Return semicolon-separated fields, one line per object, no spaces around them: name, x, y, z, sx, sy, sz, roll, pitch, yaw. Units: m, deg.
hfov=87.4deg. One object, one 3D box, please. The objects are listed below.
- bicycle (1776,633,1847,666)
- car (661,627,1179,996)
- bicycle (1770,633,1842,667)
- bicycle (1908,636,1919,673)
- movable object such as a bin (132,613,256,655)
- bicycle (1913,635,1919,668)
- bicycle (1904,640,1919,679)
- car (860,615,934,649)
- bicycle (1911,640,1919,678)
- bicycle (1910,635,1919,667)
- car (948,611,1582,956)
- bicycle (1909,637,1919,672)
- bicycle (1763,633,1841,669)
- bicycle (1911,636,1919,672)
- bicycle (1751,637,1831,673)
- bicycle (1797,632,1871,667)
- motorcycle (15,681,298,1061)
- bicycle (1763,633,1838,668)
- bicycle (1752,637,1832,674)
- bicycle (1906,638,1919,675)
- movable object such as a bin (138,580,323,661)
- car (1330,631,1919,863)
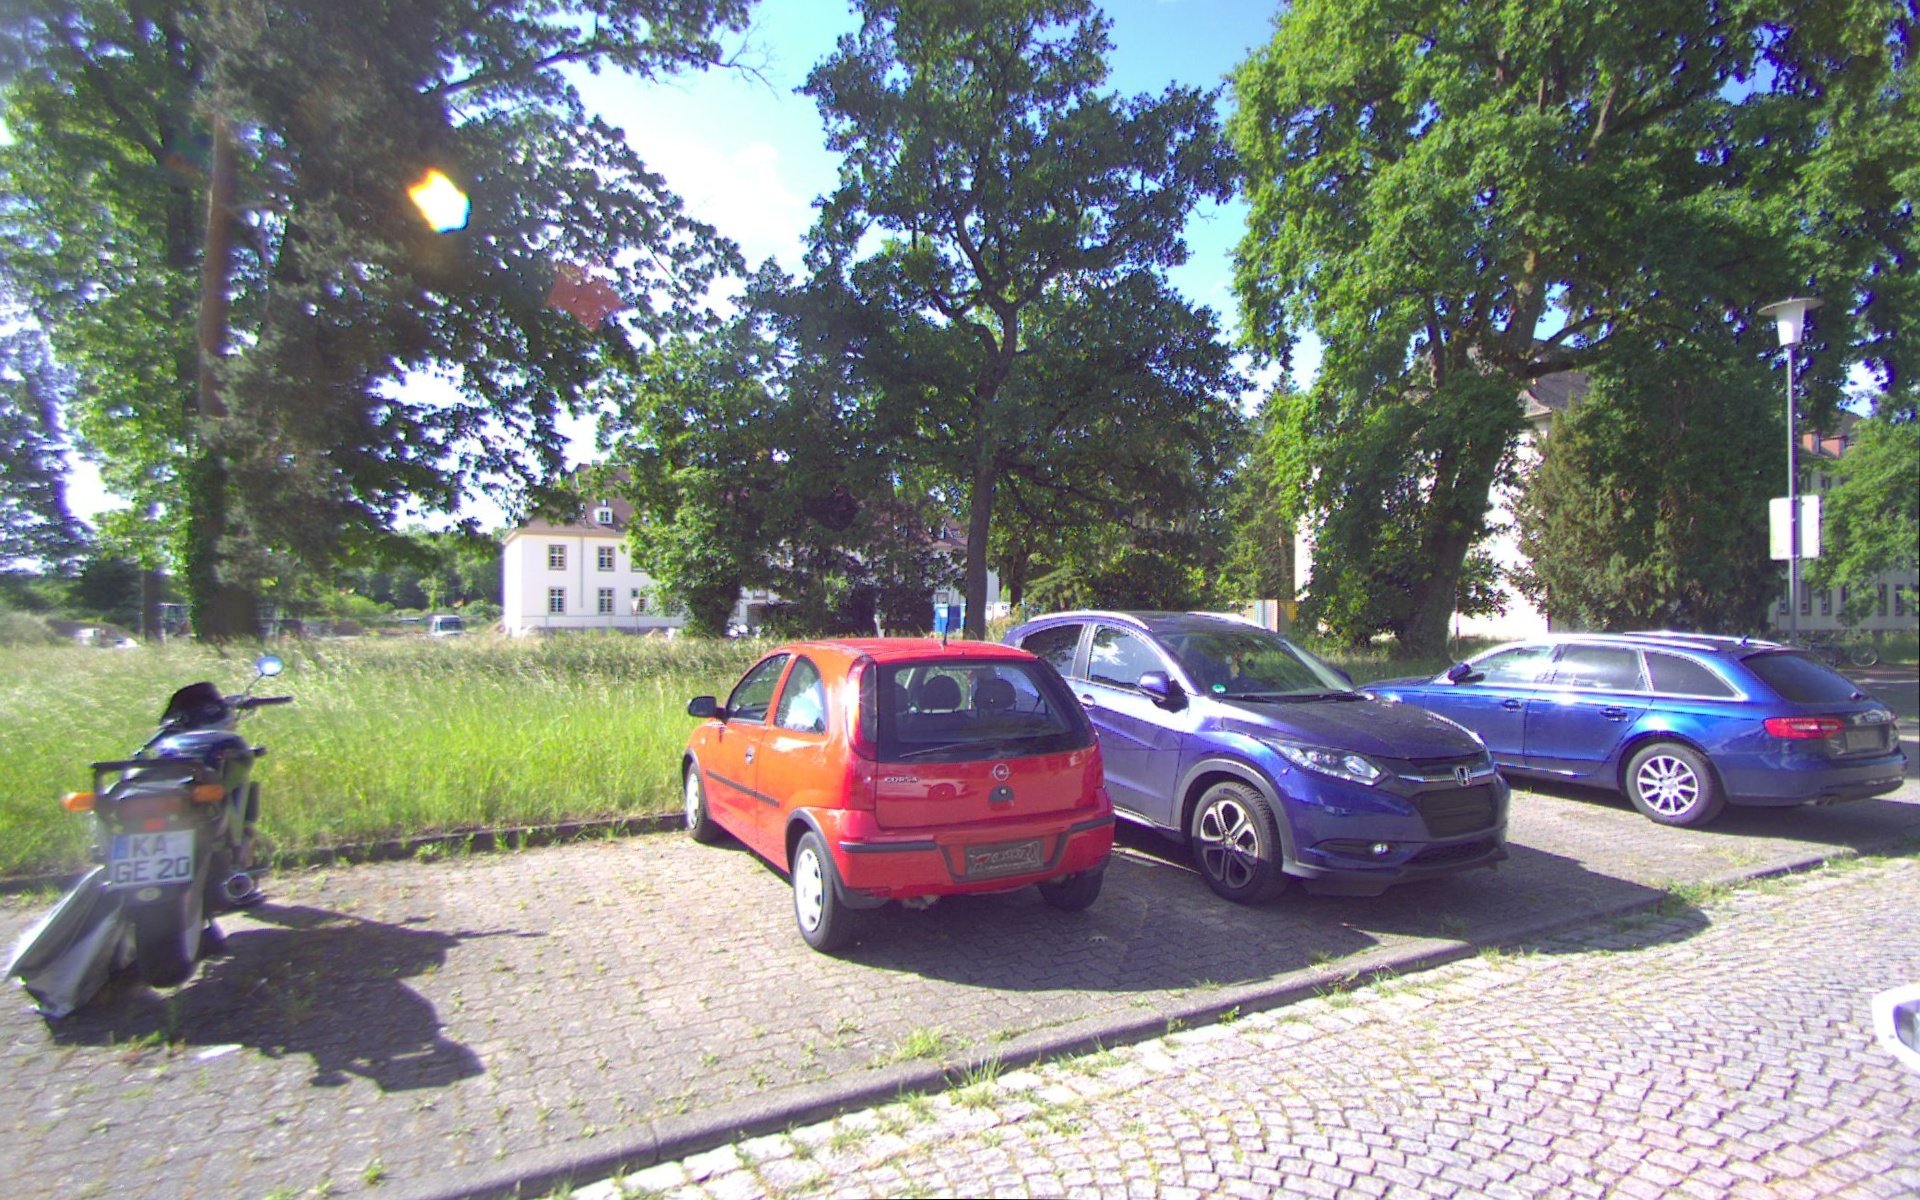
bicycle;30.335;1.744;35.823;1.889;1.117;0.568;-1;0;38
car;-0.591;0.937;6.338;1.818;1.452;3.909;0;0;-27
bicycle;29.621;1.726;35.179;1.892;1.117;0.567;-1;0;43
bicycle;29.144;1.587;29.432;1.890;1.072;0.474;-3;-3;39
movable object such as a bin;-41.296;1.821;54.174;5.566;2.153;2.529;-1;-2;17
bicycle;31.605;1.623;31.887;1.891;1.072;0.473;-4;-3;41
bicycle;27.595;1.634;27.908;1.887;1.072;0.475;-3;-3;33
car;-4.746;2.428;75.934;5.211;2.469;1.976;1;-2;-29
bicycle;28.066;1.628;28.191;1.887;1.072;0.475;-3;-3;33
bicycle;32.220;1.643;32.631;1.891;1.072;0.473;-4;-3;41
car;1.686;0.883;6.963;1.861;1.600;4.118;0;0;-28
bicycle;30.291;1.648;30.644;1.891;1.072;0.473;-4;-3;41
bicycle;27.579;1.654;32.921;1.887;1.117;0.568;-1;0;34
bicycle;29.737;1.601;29.978;1.890;1.072;0.474;-3;-3;39
bicycle;26.303;1.729;31.829;1.889;1.117;0.568;-2;0;38
bicycle;29.632;1.680;34.075;1.892;1.117;0.567;-1;0;43
motorcycle;-3.563;1.041;4.654;0.569;1.177;2.234;1;-1;-27
bicycle;28.447;1.690;34.020;1.887;1.117;0.568;-1;0;34
bicycle;25.978;1.725;31.399;1.889;1.117;0.568;-2;0;38
bicycle;28.712;1.629;29.060;1.890;1.072;0.474;-3;-3;39
movable object such as a bin;-36.758;1.066;50.802;3.869;3.780;6.766;-1;-2;37
car;5.735;1.068;9.198;1.895;1.464;4.346;0;0;-26
